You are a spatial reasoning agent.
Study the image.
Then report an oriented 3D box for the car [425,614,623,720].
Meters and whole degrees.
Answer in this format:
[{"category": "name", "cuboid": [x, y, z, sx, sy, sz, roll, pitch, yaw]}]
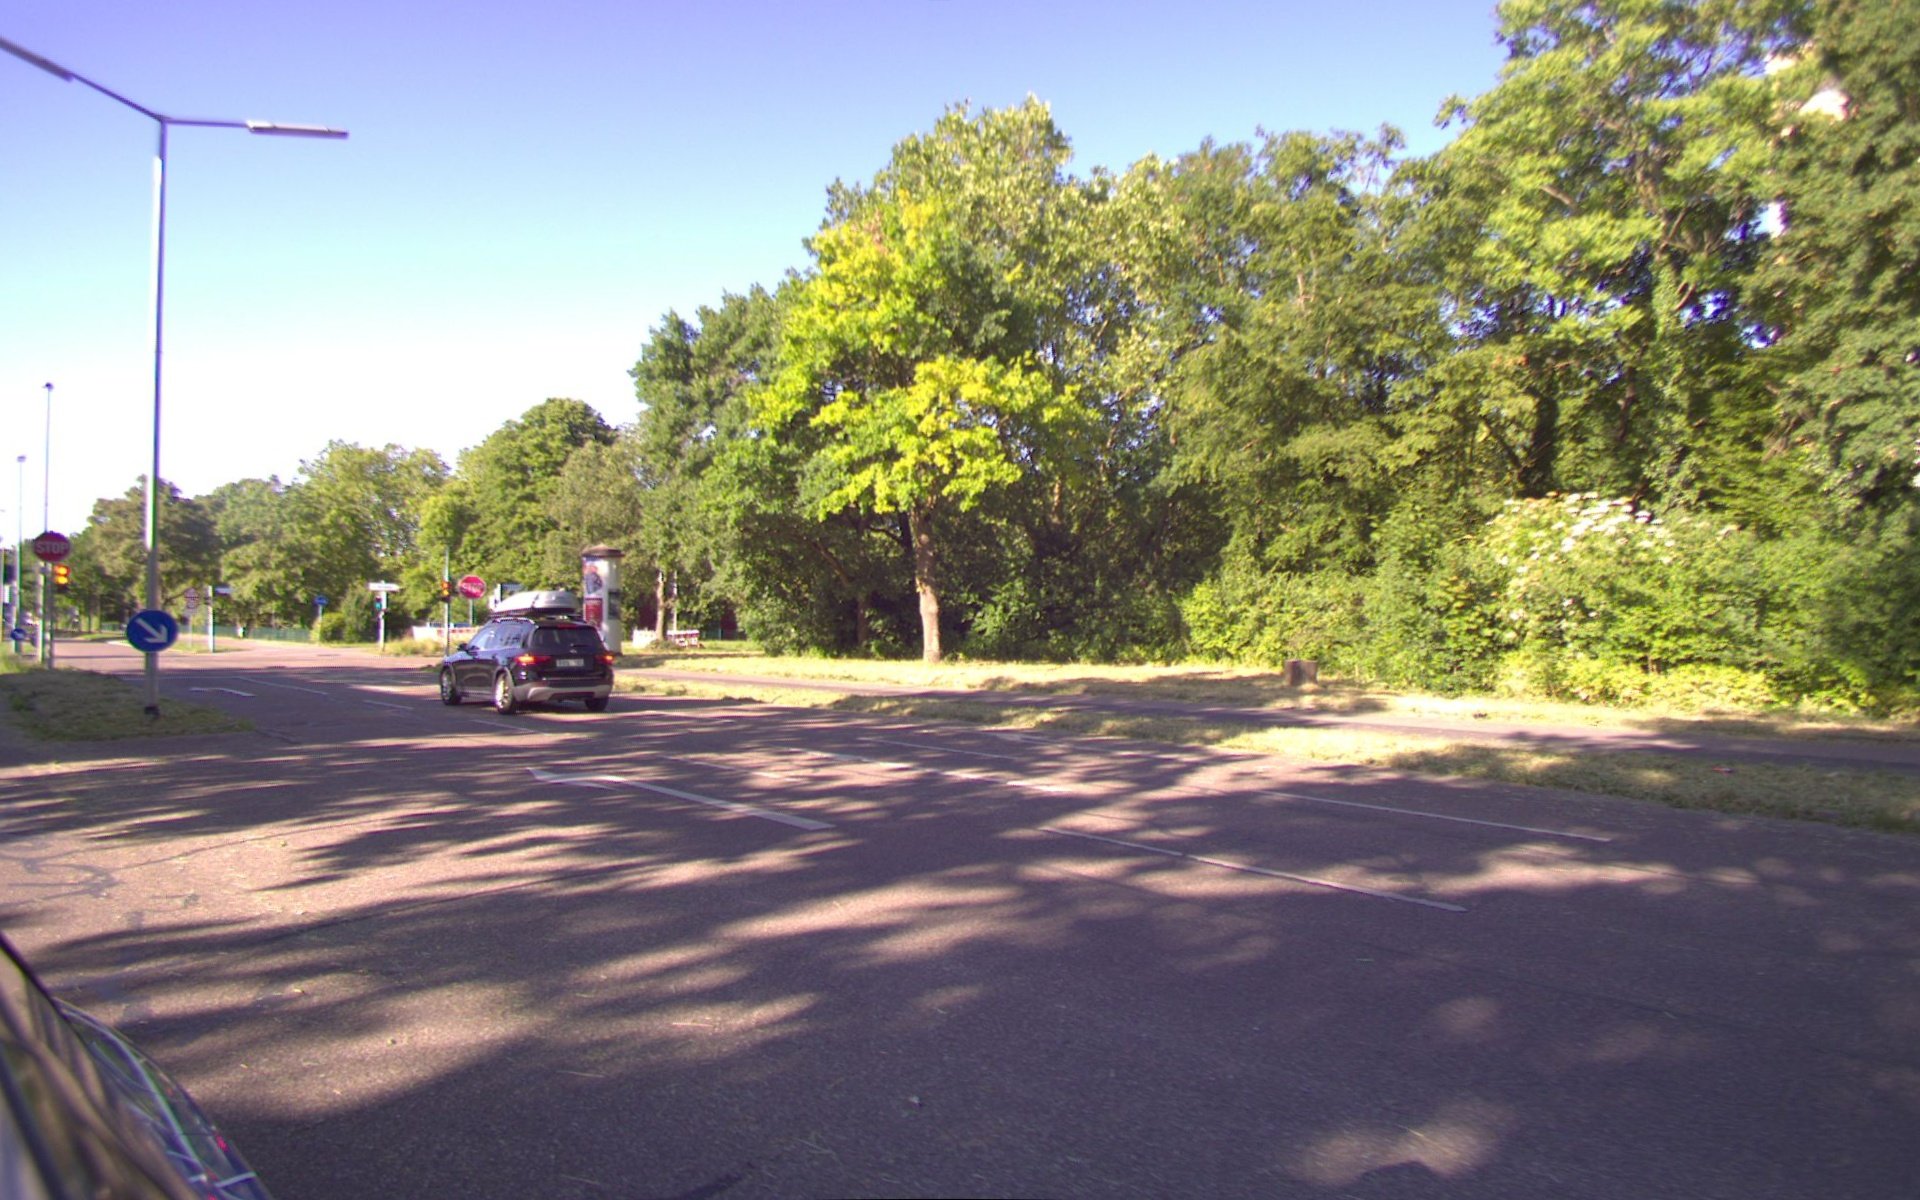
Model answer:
[{"category": "car", "cuboid": [-8.129, 1.165, 18.651, 1.818, 1.721, 4.507, 3, -3, -44]}]
